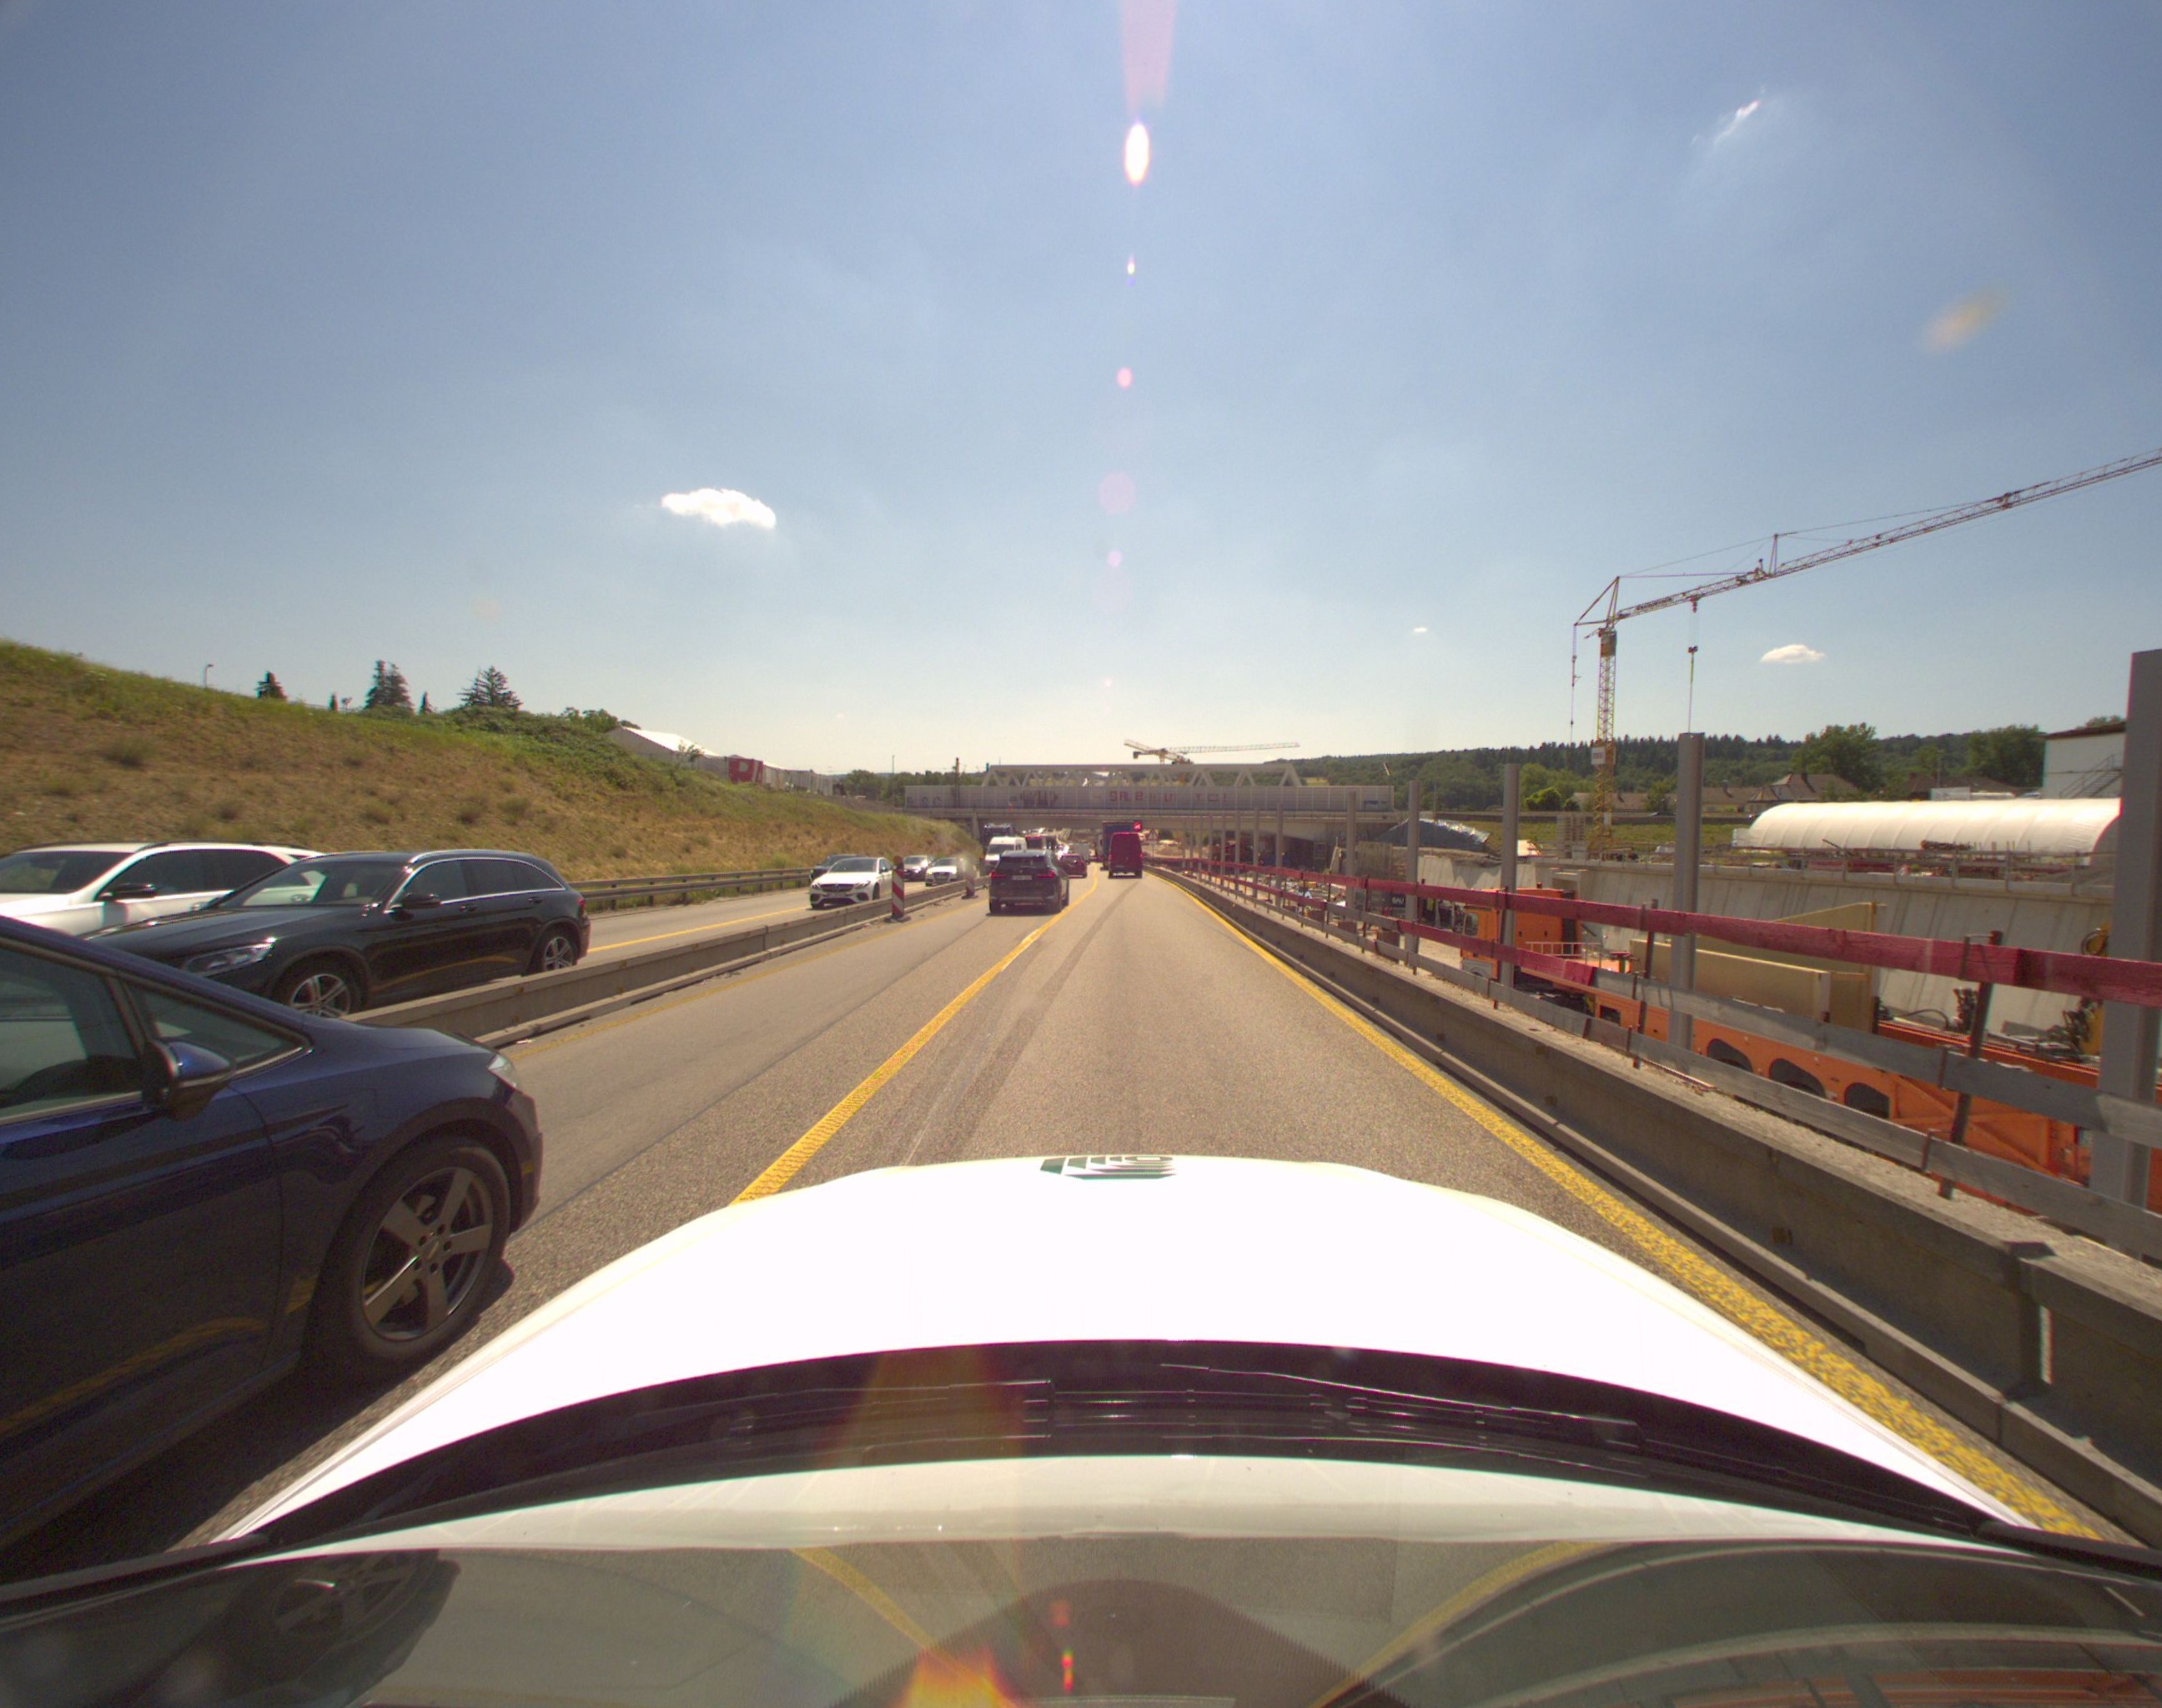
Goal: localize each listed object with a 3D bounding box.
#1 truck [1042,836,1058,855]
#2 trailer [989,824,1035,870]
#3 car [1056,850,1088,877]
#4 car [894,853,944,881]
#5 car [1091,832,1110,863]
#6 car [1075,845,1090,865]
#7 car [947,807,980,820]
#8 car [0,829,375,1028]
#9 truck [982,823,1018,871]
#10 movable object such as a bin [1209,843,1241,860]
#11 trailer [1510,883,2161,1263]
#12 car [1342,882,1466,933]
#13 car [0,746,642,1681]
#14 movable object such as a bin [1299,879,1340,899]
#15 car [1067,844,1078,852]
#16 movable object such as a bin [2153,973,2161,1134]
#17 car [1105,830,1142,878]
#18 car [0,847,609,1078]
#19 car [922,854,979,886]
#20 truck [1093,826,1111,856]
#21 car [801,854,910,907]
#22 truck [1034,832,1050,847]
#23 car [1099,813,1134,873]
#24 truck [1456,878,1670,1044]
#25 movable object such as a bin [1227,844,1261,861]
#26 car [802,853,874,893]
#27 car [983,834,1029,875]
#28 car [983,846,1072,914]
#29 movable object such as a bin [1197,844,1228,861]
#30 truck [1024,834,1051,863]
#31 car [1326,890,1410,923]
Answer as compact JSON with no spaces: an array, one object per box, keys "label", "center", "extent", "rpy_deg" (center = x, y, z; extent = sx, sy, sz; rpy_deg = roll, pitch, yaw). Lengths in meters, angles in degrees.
[{"label":"truck","center":[-6.160,-1.708,164.437],"extent":[2.825,3.852,12.911],"rpy_deg":[0,0,0]},{"label":"trailer","center":[-6.301,-0.651,76.012],"extent":[2.336,4.015,11.465],"rpy_deg":[0,0,5]},{"label":"car","center":[-0.504,0.571,49.447],"extent":[1.769,1.517,4.208],"rpy_deg":[-1,0,2]},{"label":"car","center":[-9.112,0.693,46.067],"extent":[1.757,1.447,4.132],"rpy_deg":[0,0,3]},{"label":"car","center":[2.650,-0.855,113.736],"extent":[2.442,4.161,6.859],"rpy_deg":[-1,0,0]},{"label":"car","center":[0.169,0.128,100.053],"extent":[1.770,2.441,4.205],"rpy_deg":[-1,0,0]},{"label":"car","center":[-17.765,-6.125,123.059],"extent":[4.522,1.783,1.968],"rpy_deg":[0,0,13]},{"label":"car","center":[-10.467,0.658,8.768],"extent":[1.785,1.762,4.536],"rpy_deg":[-1,0,-1]},{"label":"truck","center":[-6.865,-0.593,69.519],"extent":[2.347,4.015,4.005],"rpy_deg":[0,0,5]},{"label":"movable object such as a bin","center":[24.088,-0.383,136.228],"extent":[5.121,2.807,2.146],"rpy_deg":[0,0,5]},{"label":"trailer","center":[13.124,2.805,16.072],"extent":[2.748,3.886,13.053],"rpy_deg":[0,0,1]},{"label":"car","center":[18.190,2.980,45.993],"extent":[6.087,2.584,2.522],"rpy_deg":[1,2,-10]},{"label":"car","center":[-2.881,0.669,1.238],"extent":[1.769,1.718,4.654],"rpy_deg":[0,1,2]},{"label":"movable object such as a bin","center":[20.516,2.995,69.991],"extent":[3.067,1.563,1.563],"rpy_deg":[0,0,36]},{"label":"car","center":[-2.039,-1.456,193.198],"extent":[1.994,2.013,3.986],"rpy_deg":[0,0,-10]},{"label":"movable object such as a bin","center":[21.509,3.820,13.091],"extent":[2.271,3.024,4.823],"rpy_deg":[2,0,2]},{"label":"car","center":[2.531,-0.023,49.423],"extent":[1.982,2.690,4.623],"rpy_deg":[-1,0,0]},{"label":"car","center":[-6.962,0.739,8.044],"extent":[1.784,1.611,4.734],"rpy_deg":[0,0,1]},{"label":"car","center":[-6.369,0.726,40.271],"extent":[1.793,1.447,4.641],"rpy_deg":[0,0,3]},{"label":"truck","center":[3.903,-2.383,153.636],"extent":[2.827,5.398,12.905],"rpy_deg":[0,0,-1]},{"label":"car","center":[-6.875,0.747,25.423],"extent":[1.955,1.464,4.941],"rpy_deg":[0,0,1]},{"label":"truck","center":[-10.792,-3.984,225.306],"extent":[2.835,3.852,12.866],"rpy_deg":[0,0,-10]},{"label":"car","center":[3.072,-0.992,73.572],"extent":[2.613,5.032,10.395],"rpy_deg":[-1,0,0]},{"label":"truck","center":[13.292,2.748,23.127],"extent":[2.748,3.886,5.884],"rpy_deg":[0,0,1]},{"label":"movable object such as a bin","center":[25.882,-0.244,129.153],"extent":[5.121,2.807,2.146],"rpy_deg":[0,0,5]},{"label":"car","center":[-10.030,0.746,33.928],"extent":[1.687,1.531,4.002],"rpy_deg":[0,0,2]},{"label":"car","center":[-4.980,0.029,55.120],"extent":[1.985,2.606,7.018],"rpy_deg":[0,0,4]},{"label":"car","center":[-1.331,0.620,22.189],"extent":[1.872,1.618,4.502],"rpy_deg":[-1,0,3]},{"label":"movable object such as a bin","center":[22.768,-0.252,141.036],"extent":[5.121,2.807,2.146],"rpy_deg":[0,0,5]},{"label":"truck","center":[-5.949,-0.777,113.048],"extent":[2.824,3.852,12.915],"rpy_deg":[0,0,1]},{"label":"car","center":[18.468,3.361,52.619],"extent":[4.711,1.773,2.001],"rpy_deg":[2,2,1]}]
